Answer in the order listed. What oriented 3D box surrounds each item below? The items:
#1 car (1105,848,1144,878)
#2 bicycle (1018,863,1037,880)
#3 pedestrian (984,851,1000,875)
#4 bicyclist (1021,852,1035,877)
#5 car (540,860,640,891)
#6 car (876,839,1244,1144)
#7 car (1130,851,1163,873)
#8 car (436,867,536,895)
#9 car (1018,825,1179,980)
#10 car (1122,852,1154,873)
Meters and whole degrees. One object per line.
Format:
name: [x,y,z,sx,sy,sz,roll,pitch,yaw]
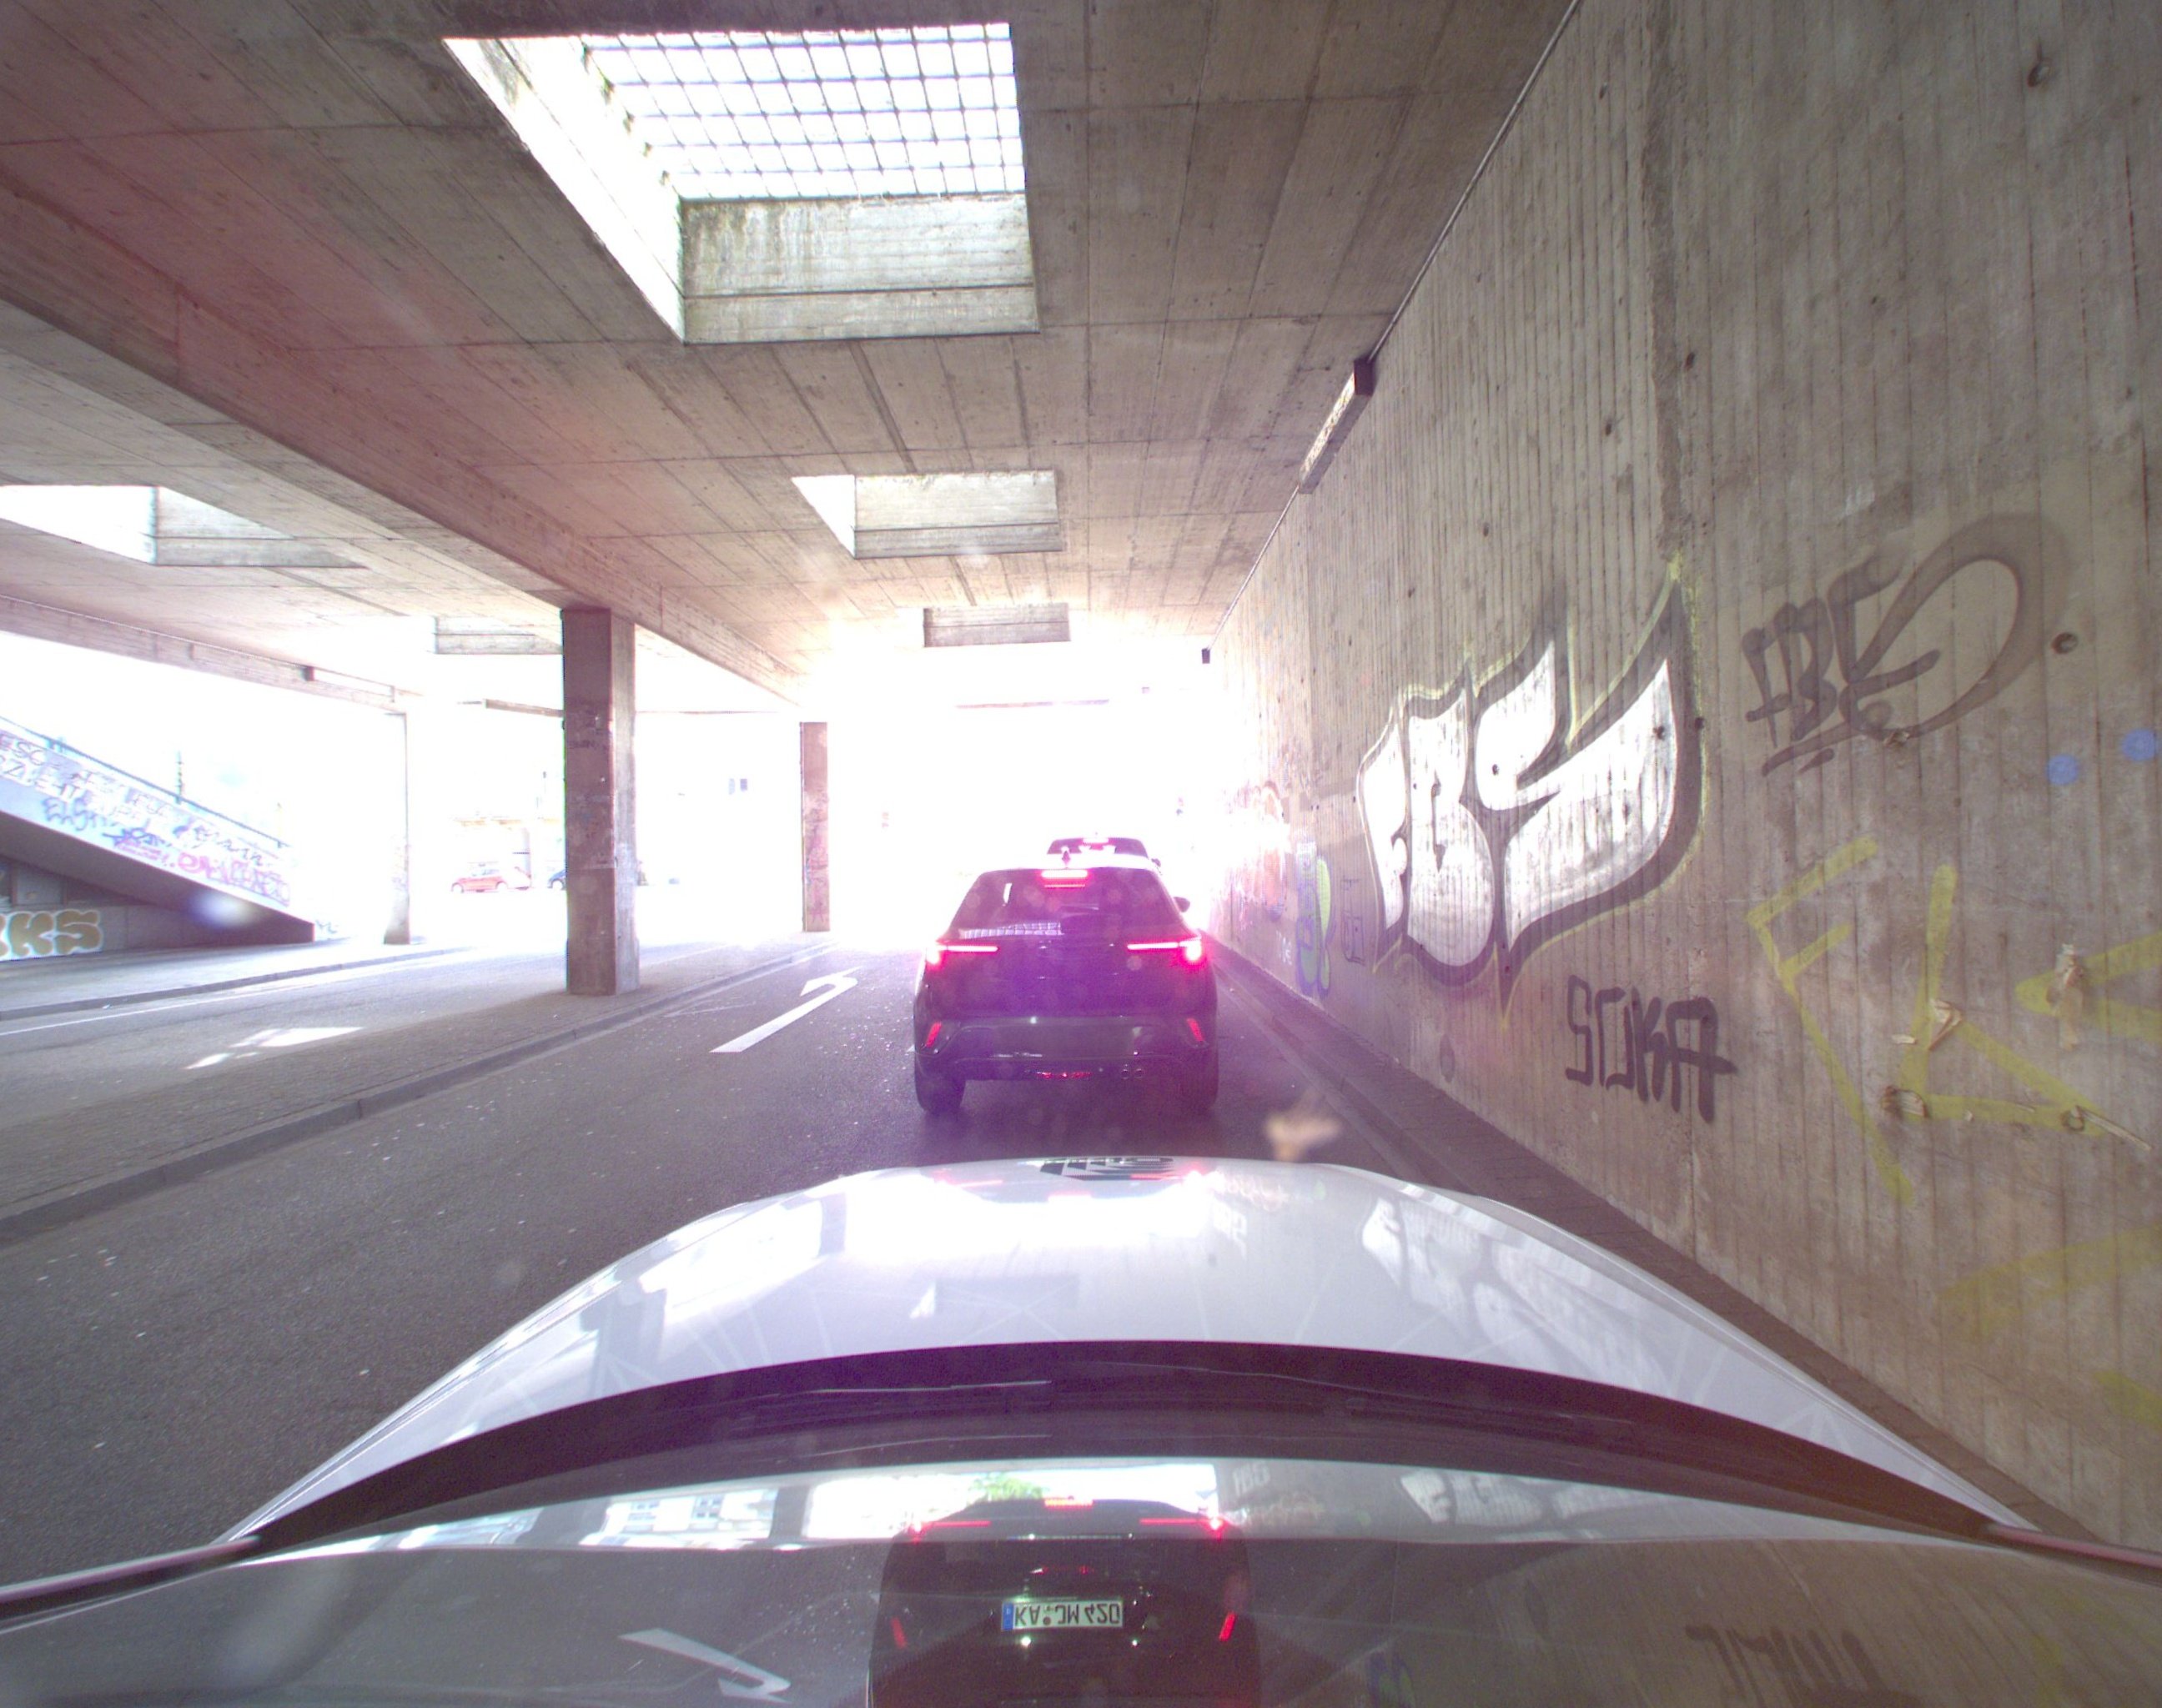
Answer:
car: [2.406,0.503,44.303,1.959,1.497,3.900,-2,-2,4]
bicycle: [-3.390,1.106,51.781,0.727,1.067,1.694,-1,-1,11]
pedestrian: [-7.679,0.794,70.358,0.986,2.013,1.091,-2,0,10]
bicyclist: [-3.380,0.649,51.815,0.724,1.581,0.817,-1,-1,11]
car: [-27.209,1.189,45.276,4.114,1.550,2.268,-2,0,1]
car: [-0.049,0.716,6.225,1.875,1.538,3.966,-2,0,2]
car: [5.586,0.685,69.074,2.206,1.719,4.474,-2,-2,12]
car: [-33.014,1.481,45.276,3.970,1.374,2.192,-2,0,3]
car: [0.283,0.598,12.045,1.938,1.860,3.966,-2,0,2]
car: [4.404,0.641,62.288,1.955,1.497,3.908,-2,-2,11]
